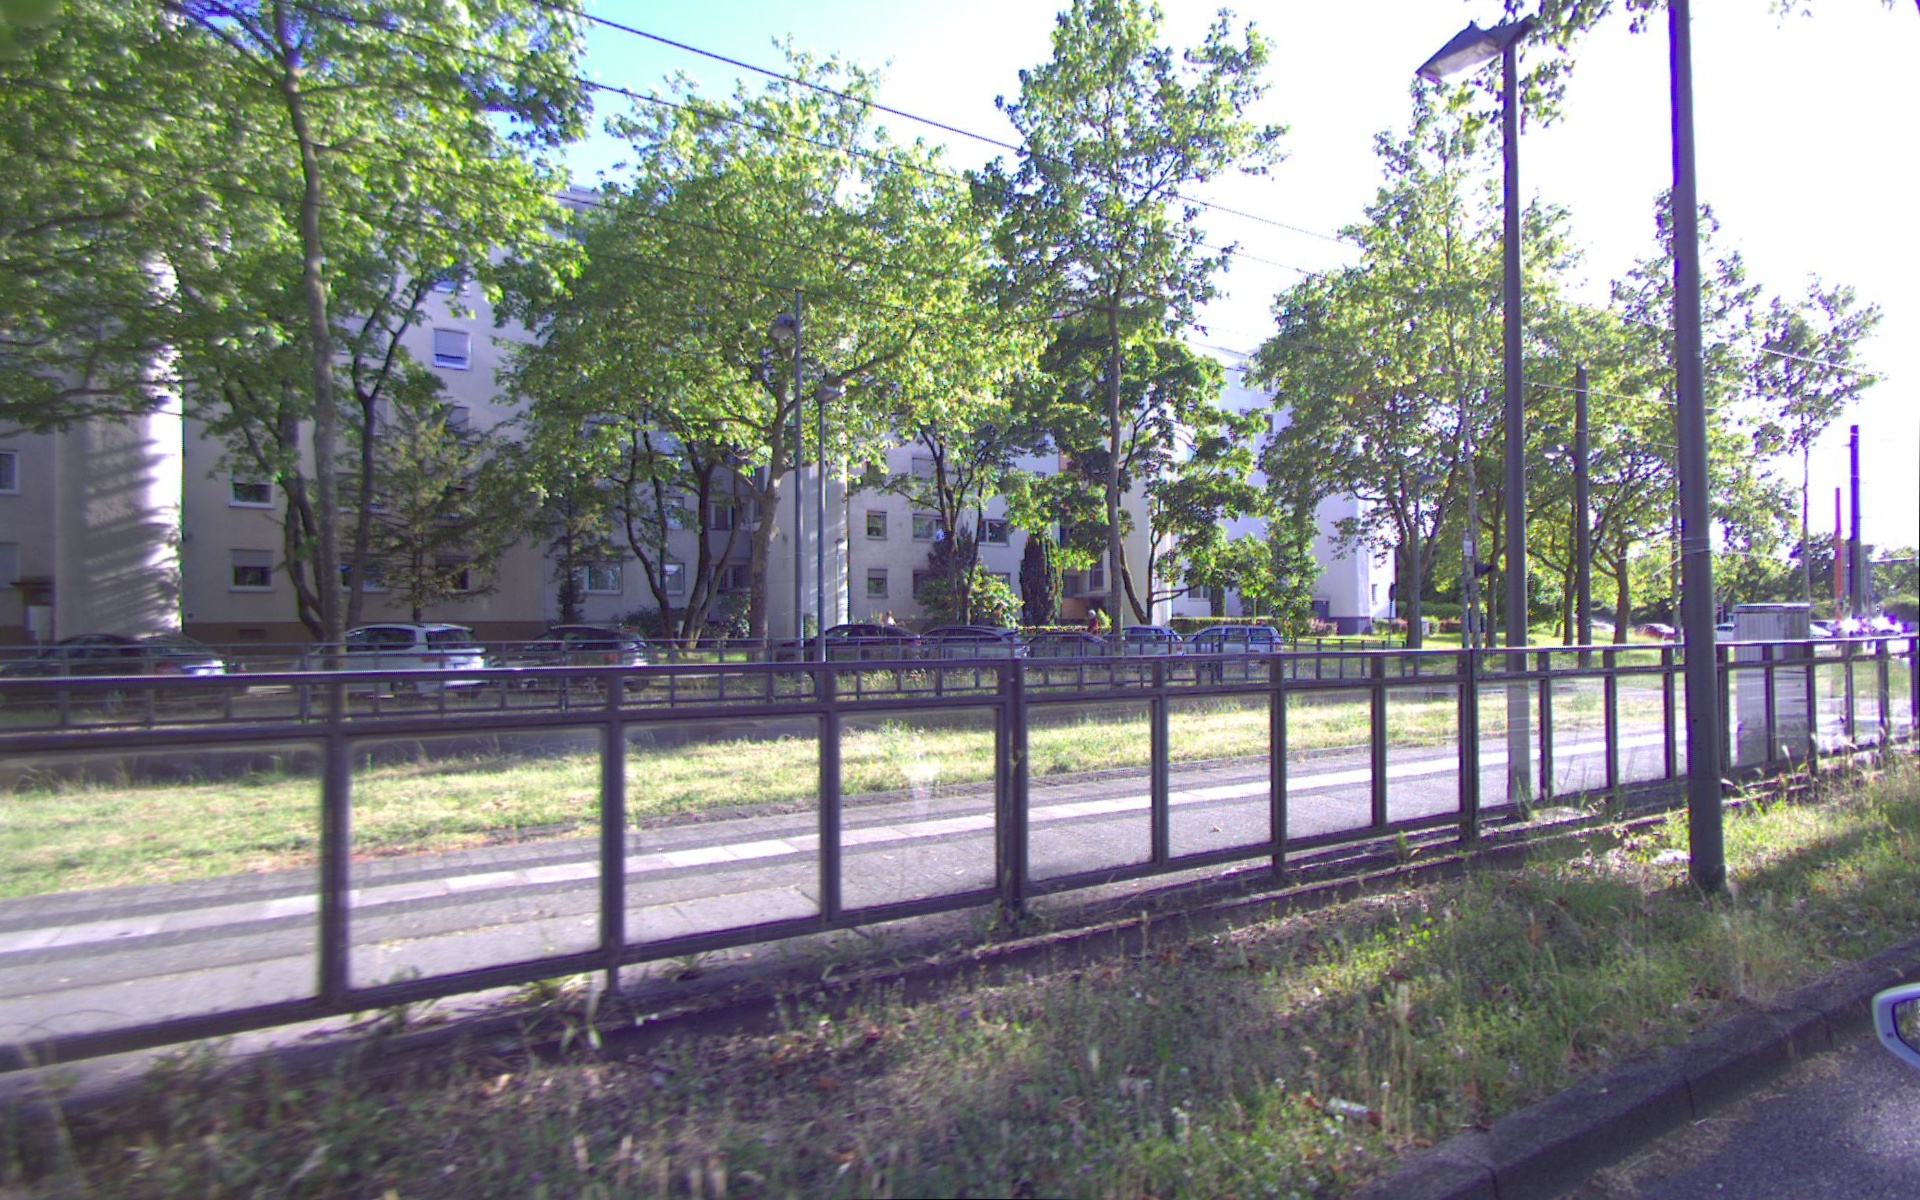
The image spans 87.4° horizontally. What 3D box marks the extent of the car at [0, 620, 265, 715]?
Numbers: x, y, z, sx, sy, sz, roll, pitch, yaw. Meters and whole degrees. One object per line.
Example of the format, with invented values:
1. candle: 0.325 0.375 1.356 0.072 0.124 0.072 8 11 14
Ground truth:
1. car: -15.125 1.176 18.286 4.090 1.565 1.647 0 0 11

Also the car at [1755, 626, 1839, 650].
1. car: 60.775 2.758 73.045 1.867 1.632 4.491 -2 -1 -12

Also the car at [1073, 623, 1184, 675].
1. car: 5.274 1.496 31.356 3.221 1.450 1.572 1 0 17

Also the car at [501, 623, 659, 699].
1. car: -8.543 1.311 22.566 3.321 1.529 1.463 0 0 26

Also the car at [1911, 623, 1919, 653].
1. car: 48.746 1.896 49.473 3.670 1.469 1.625 1 0 -27

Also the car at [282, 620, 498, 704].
1. car: -11.686 1.213 20.620 3.914 1.565 1.647 0 0 18

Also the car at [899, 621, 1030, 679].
1. car: 0.155 1.346 27.569 3.315 1.445 1.541 1 0 12

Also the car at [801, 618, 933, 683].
1. car: -2.353 1.267 25.795 3.075 1.568 1.466 0 0 12

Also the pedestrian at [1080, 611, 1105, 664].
1. pedestrian: 4.576 1.282 34.721 0.710 1.816 0.473 1 0 -32

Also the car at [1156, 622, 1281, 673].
1. car: 8.458 1.521 32.912 3.842 1.496 1.633 1 0 17

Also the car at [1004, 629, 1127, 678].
1. car: 3.096 1.544 29.368 3.317 1.270 1.465 1 0 19

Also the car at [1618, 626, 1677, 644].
1. car: 59.220 2.987 86.624 1.783 1.455 4.039 -2 -1 -12

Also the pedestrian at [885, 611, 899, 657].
1. pedestrian: -2.697 1.363 40.077 0.446 1.816 0.315 1 -1 -38

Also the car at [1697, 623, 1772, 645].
1. car: 60.720 2.638 78.829 1.867 1.632 4.491 -1 -2 -12

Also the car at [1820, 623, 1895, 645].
1. car: 69.762 2.639 78.155 1.867 1.642 3.991 0 -1 -12

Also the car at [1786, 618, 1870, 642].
1. car: 64.299 2.228 74.498 1.867 1.632 4.491 -2 -1 -12
